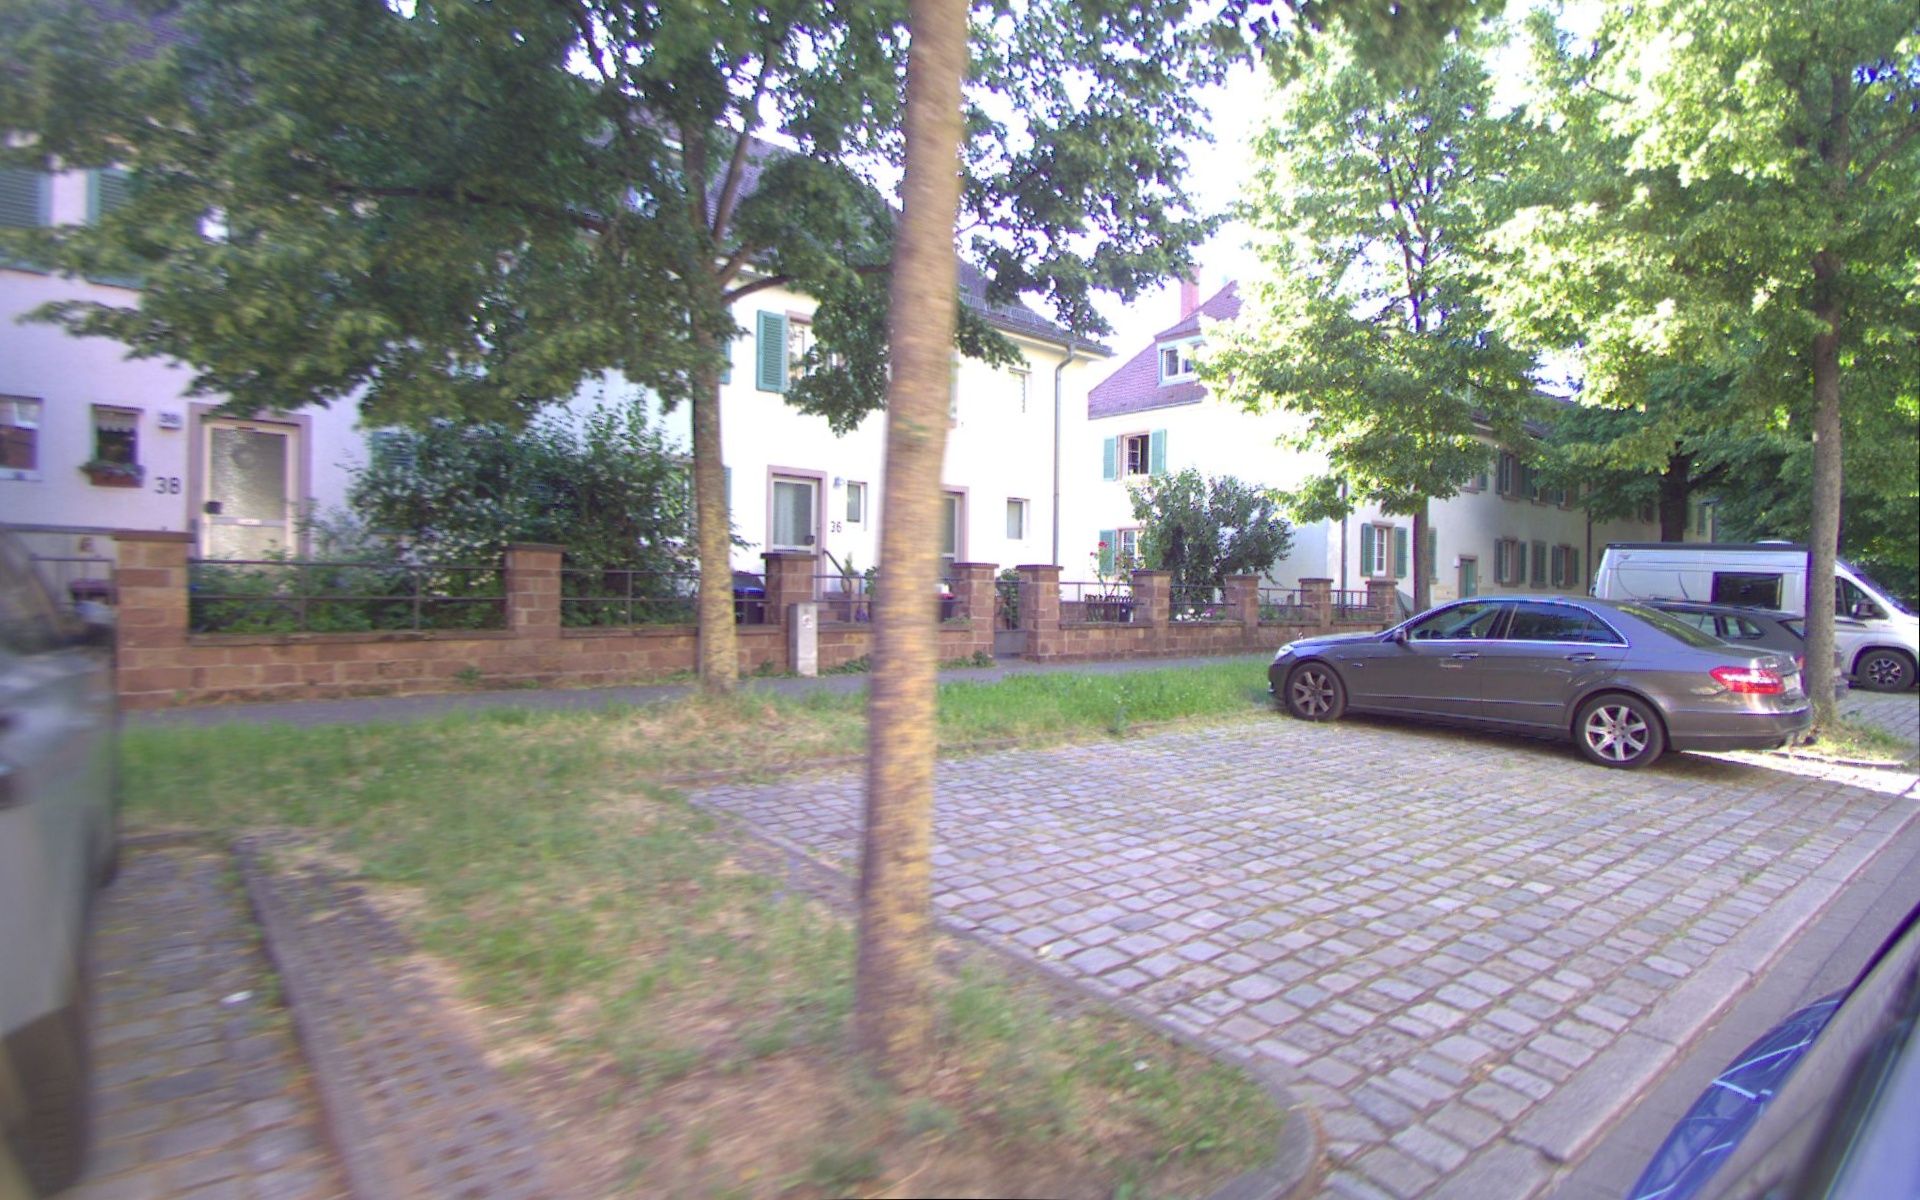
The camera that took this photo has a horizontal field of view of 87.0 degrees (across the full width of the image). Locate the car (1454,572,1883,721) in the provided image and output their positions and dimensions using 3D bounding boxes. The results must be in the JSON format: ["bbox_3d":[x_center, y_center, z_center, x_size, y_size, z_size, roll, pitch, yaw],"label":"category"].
[{"bbox_3d":[9.539,0.492,13.977,1.795,1.453,4.488,0,4,-40],"label":"car"}]

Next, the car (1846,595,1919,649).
[{"bbox_3d":[30.141,0.715,31.245,1.528,1.571,3.996,1,2,-40],"label":"car"}]

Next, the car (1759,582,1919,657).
[{"bbox_3d":[24.431,0.521,26.963,1.966,1.737,4.603,0,3,-42],"label":"car"}]

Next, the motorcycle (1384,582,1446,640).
[{"bbox_3d":[11.531,0.254,25.600,1.981,1.424,0.660,-1,0,-41],"label":"motorcycle"}]

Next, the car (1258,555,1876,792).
[{"bbox_3d":[5.638,0.473,10.018,1.862,1.558,4.847,0,4,-42],"label":"car"}]

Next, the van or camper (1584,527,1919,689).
[{"bbox_3d":[15.348,0.036,18.949,2.124,2.546,5.734,0,4,-40],"label":"van or camper"}]

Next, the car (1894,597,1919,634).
[{"bbox_3d":[41.224,0.712,41.634,1.546,1.531,3.991,1,2,-44],"label":"car"}]

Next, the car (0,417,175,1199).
[{"bbox_3d":[-3.600,0.343,2.945,1.842,1.653,4.486,0,4,-41],"label":"car"}]
